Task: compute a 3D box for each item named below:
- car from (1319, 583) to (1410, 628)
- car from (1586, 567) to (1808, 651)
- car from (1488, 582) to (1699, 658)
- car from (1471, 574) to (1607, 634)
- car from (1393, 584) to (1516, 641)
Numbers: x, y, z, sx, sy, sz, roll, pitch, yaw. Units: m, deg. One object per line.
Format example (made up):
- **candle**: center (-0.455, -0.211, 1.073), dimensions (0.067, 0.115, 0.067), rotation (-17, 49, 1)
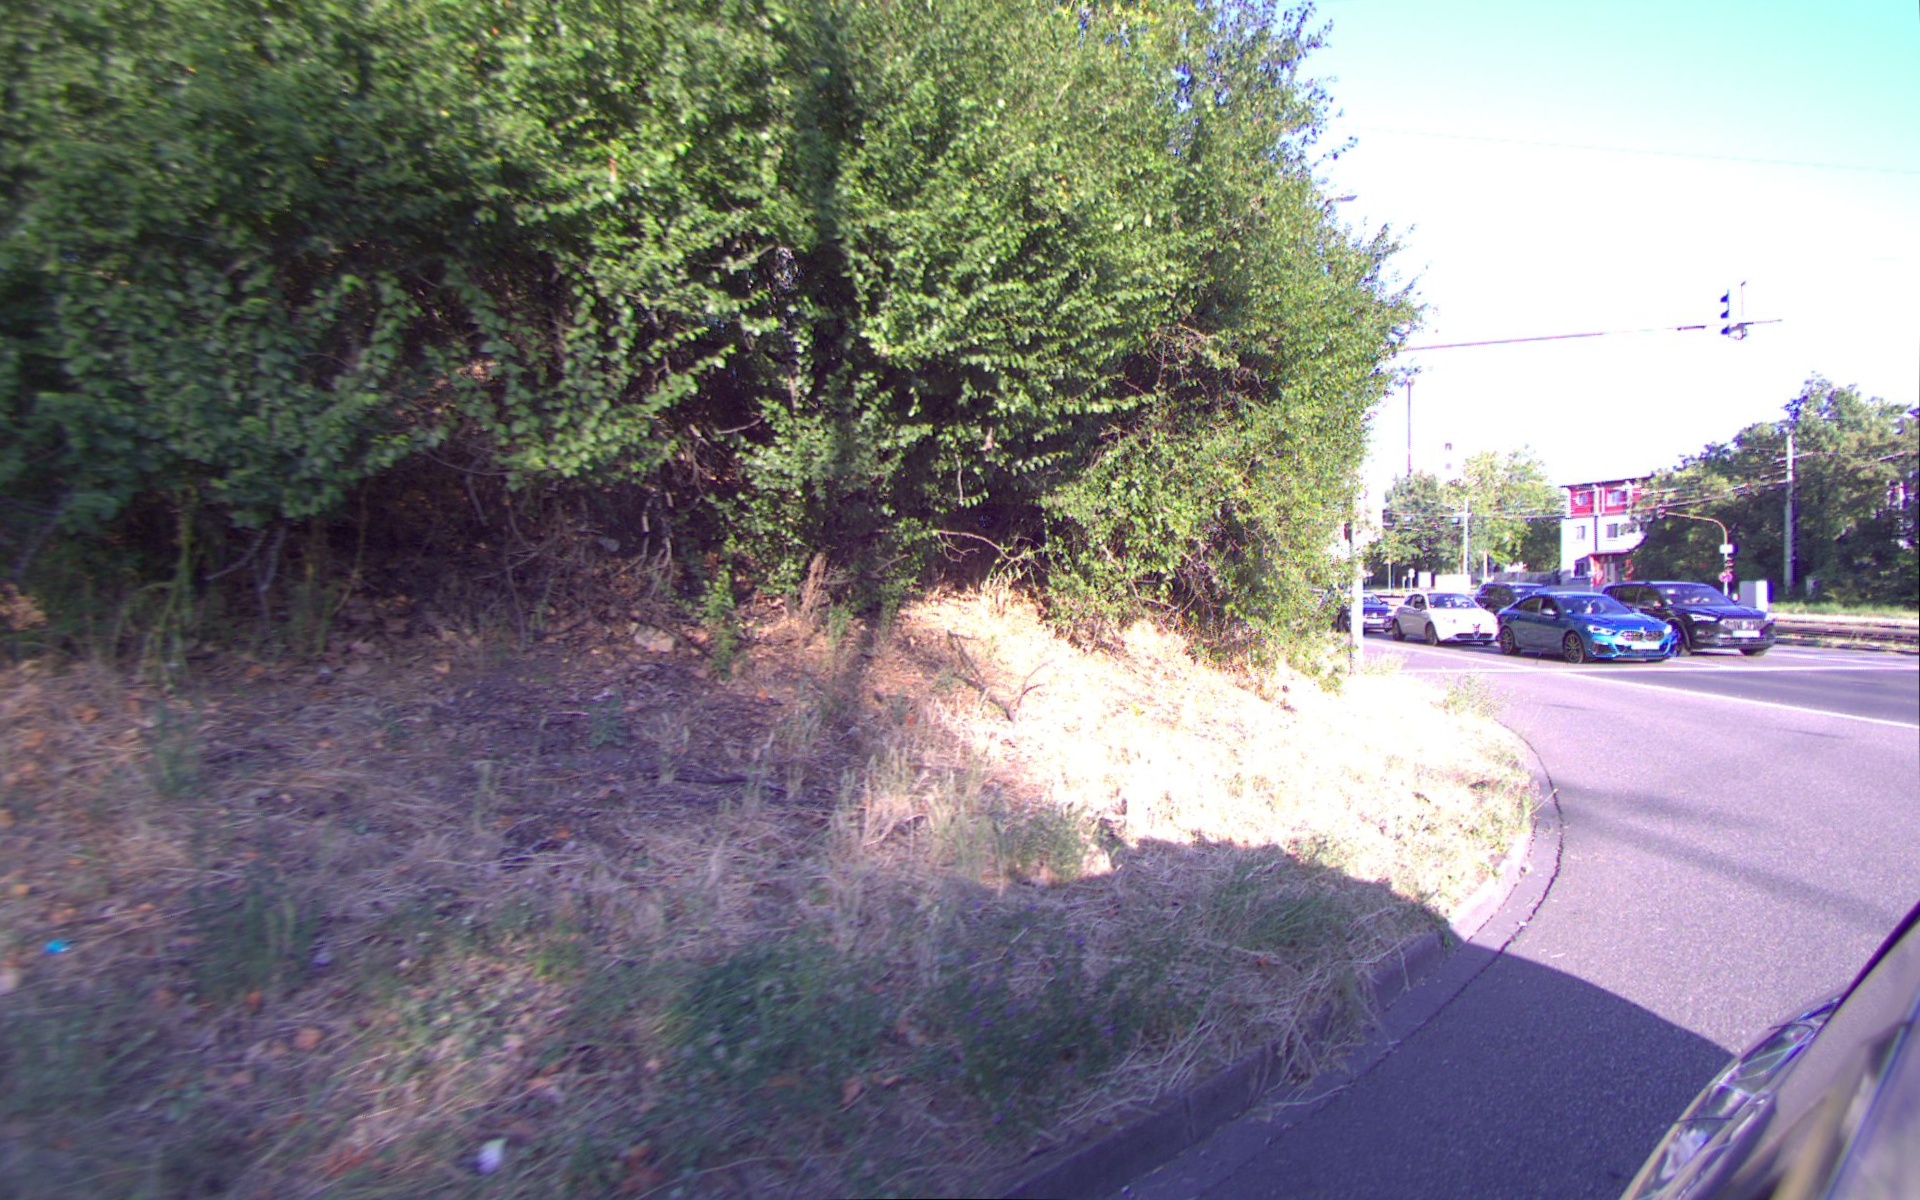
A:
- **car**: center (13.921, 0.153, 35.052), dimensions (1.750, 1.448, 3.921), rotation (-1, 1, 3)
- **car**: center (16.634, 0.154, 23.194), dimensions (1.887, 1.702, 4.598), rotation (-1, 1, 3)
- **car**: center (13.360, 0.355, 21.724), dimensions (1.757, 1.435, 4.511), rotation (-1, 1, 2)
- **car**: center (17.560, 0.070, 30.952), dimensions (1.888, 1.669, 4.594), rotation (-1, 1, 6)
- **car**: center (13.615, 0.293, 28.093), dimensions (1.636, 1.448, 3.921), rotation (-1, 1, 3)
